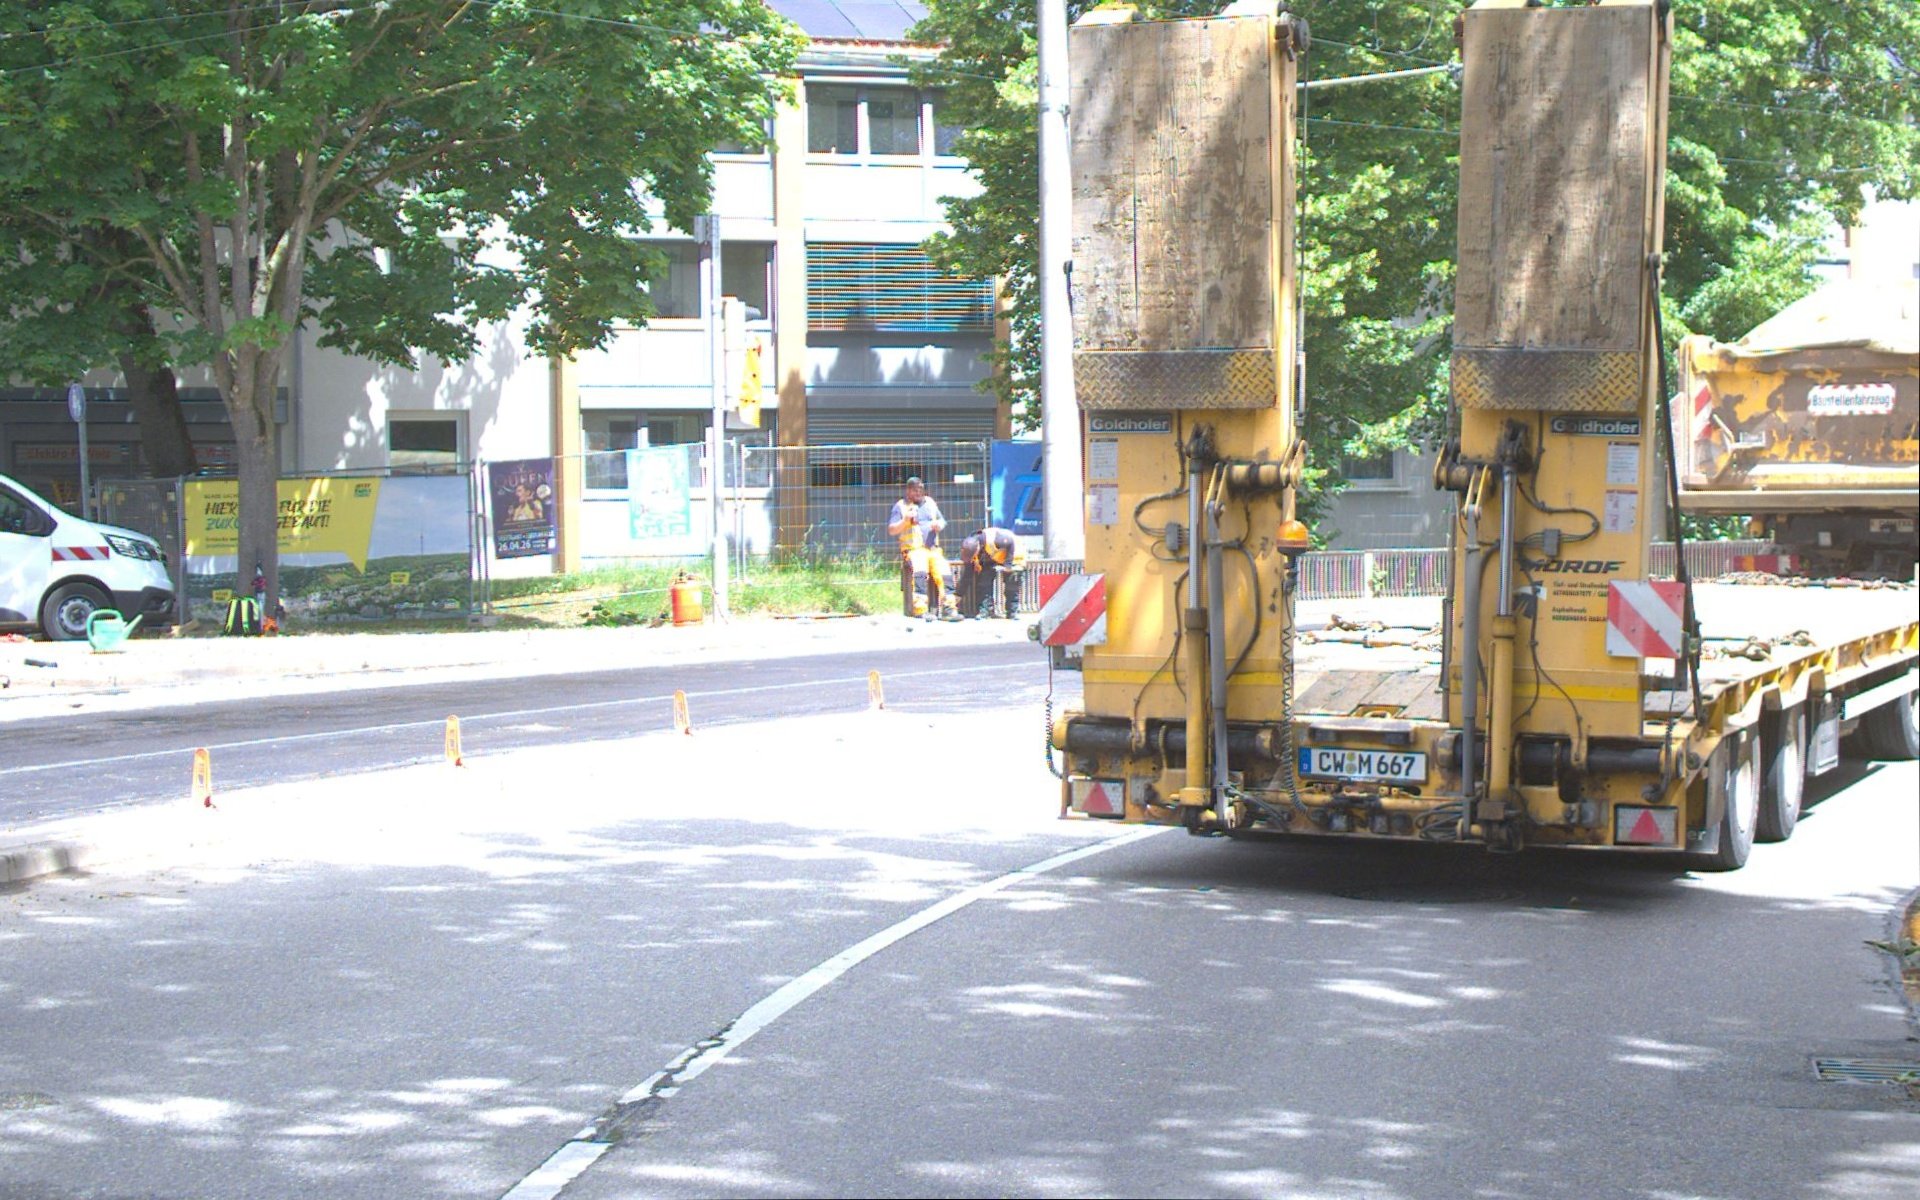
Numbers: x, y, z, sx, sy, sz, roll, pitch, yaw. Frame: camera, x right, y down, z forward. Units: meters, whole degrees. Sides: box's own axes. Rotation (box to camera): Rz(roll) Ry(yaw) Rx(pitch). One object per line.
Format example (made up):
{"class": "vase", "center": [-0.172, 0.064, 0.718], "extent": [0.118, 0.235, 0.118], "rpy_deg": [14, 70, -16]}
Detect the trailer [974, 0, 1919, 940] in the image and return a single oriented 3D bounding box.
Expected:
{"class": "trailer", "center": [3.430, -0.752, 18.217], "extent": [2.826, 3.511, 11.040], "rpy_deg": [2, 3, 21]}

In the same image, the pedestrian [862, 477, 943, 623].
{"class": "pedestrian", "center": [-0.621, -0.543, 36.900], "extent": [0.760, 1.535, 0.798], "rpy_deg": [-1, 1, -7]}

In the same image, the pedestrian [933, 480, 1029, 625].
{"class": "pedestrian", "center": [0.225, -0.516, 37.084], "extent": [0.904, 1.527, 0.841], "rpy_deg": [-1, 1, -7]}

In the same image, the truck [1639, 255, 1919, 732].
{"class": "truck", "center": [8.397, -0.830, 26.039], "extent": [2.924, 3.156, 7.662], "rpy_deg": [2, 3, 41]}

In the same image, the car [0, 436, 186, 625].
{"class": "car", "center": [-10.728, -0.667, 35.432], "extent": [5.232, 1.881, 2.000], "rpy_deg": [-1, 0, -16]}
